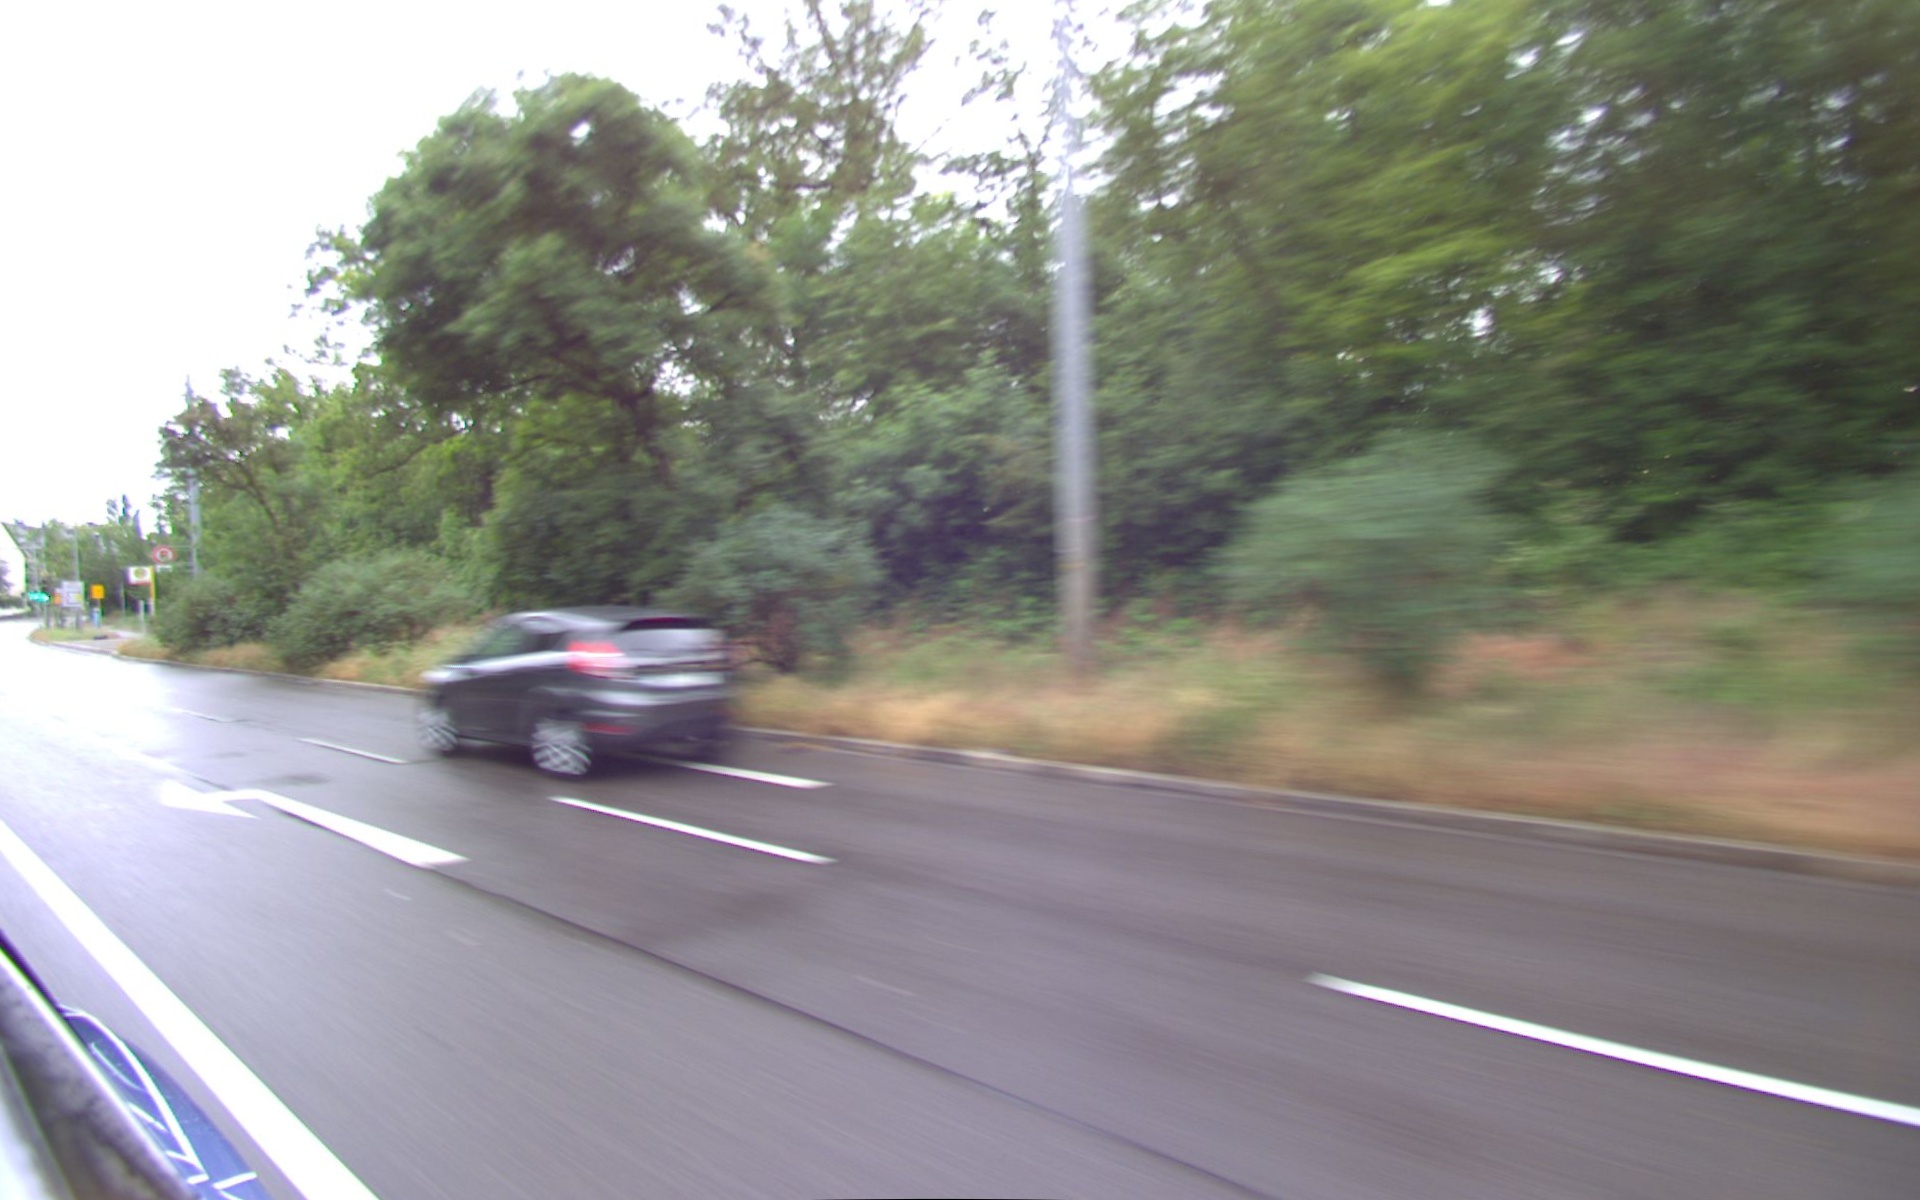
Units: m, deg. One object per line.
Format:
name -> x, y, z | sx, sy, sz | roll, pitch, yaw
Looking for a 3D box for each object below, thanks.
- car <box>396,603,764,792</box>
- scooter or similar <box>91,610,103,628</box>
car -> -3.791, 0.795, 9.759 | 3.988, 1.452, 1.582 | -1, -1, 40
scooter or similar -> -61.649, 1.343, 72.293 | 0.511, 1.221, 1.472 | -3, 1, -38
